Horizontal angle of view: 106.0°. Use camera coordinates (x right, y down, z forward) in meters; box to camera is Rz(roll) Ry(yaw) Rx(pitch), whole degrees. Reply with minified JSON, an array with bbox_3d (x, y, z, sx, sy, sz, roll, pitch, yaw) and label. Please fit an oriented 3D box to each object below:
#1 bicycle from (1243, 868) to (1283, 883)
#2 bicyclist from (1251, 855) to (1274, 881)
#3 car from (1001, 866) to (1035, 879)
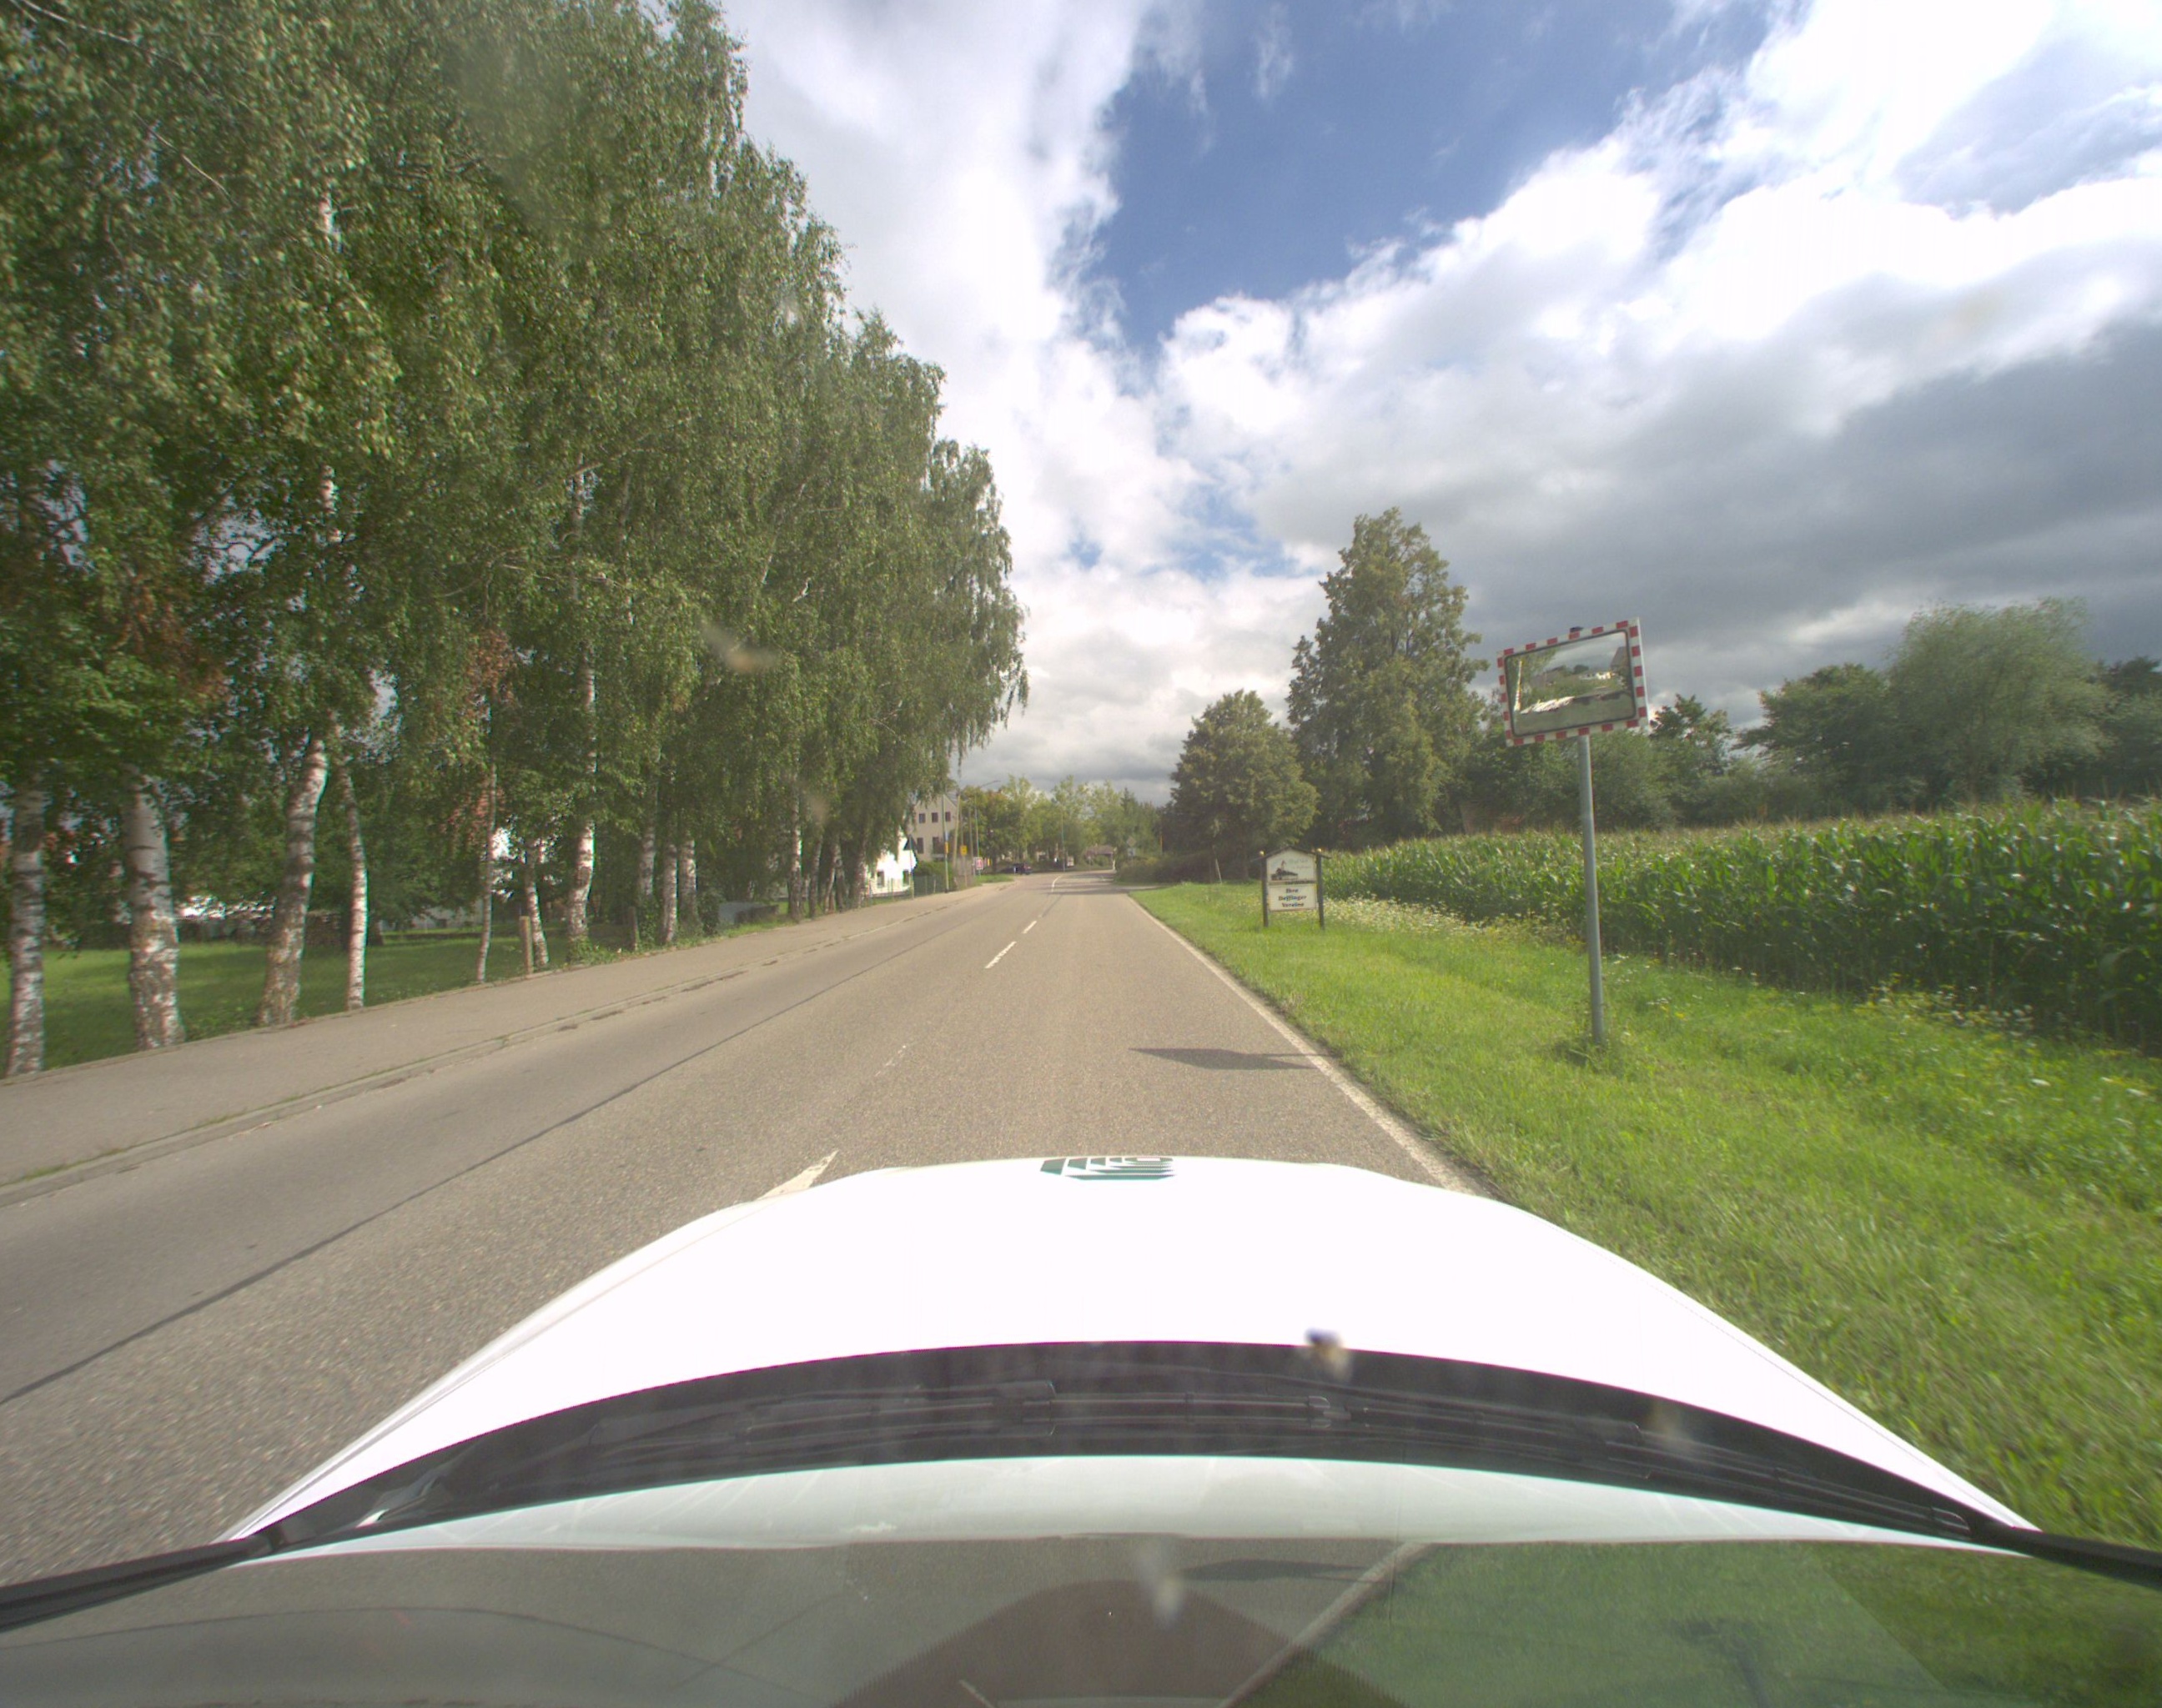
[{"bbox_3d":[11.135,1.317,49.802,2.119,0.864,1.049,-2,-1,-15],"label":"bicycle"},{"bbox_3d":[11.089,0.848,49.803,1.019,1.585,1.049,-1,-1,-14],"label":"bicyclist"},{"bbox_3d":[-8.339,2.390,107.442,3.948,1.585,2.013,-2,0,30],"label":"car"}]
